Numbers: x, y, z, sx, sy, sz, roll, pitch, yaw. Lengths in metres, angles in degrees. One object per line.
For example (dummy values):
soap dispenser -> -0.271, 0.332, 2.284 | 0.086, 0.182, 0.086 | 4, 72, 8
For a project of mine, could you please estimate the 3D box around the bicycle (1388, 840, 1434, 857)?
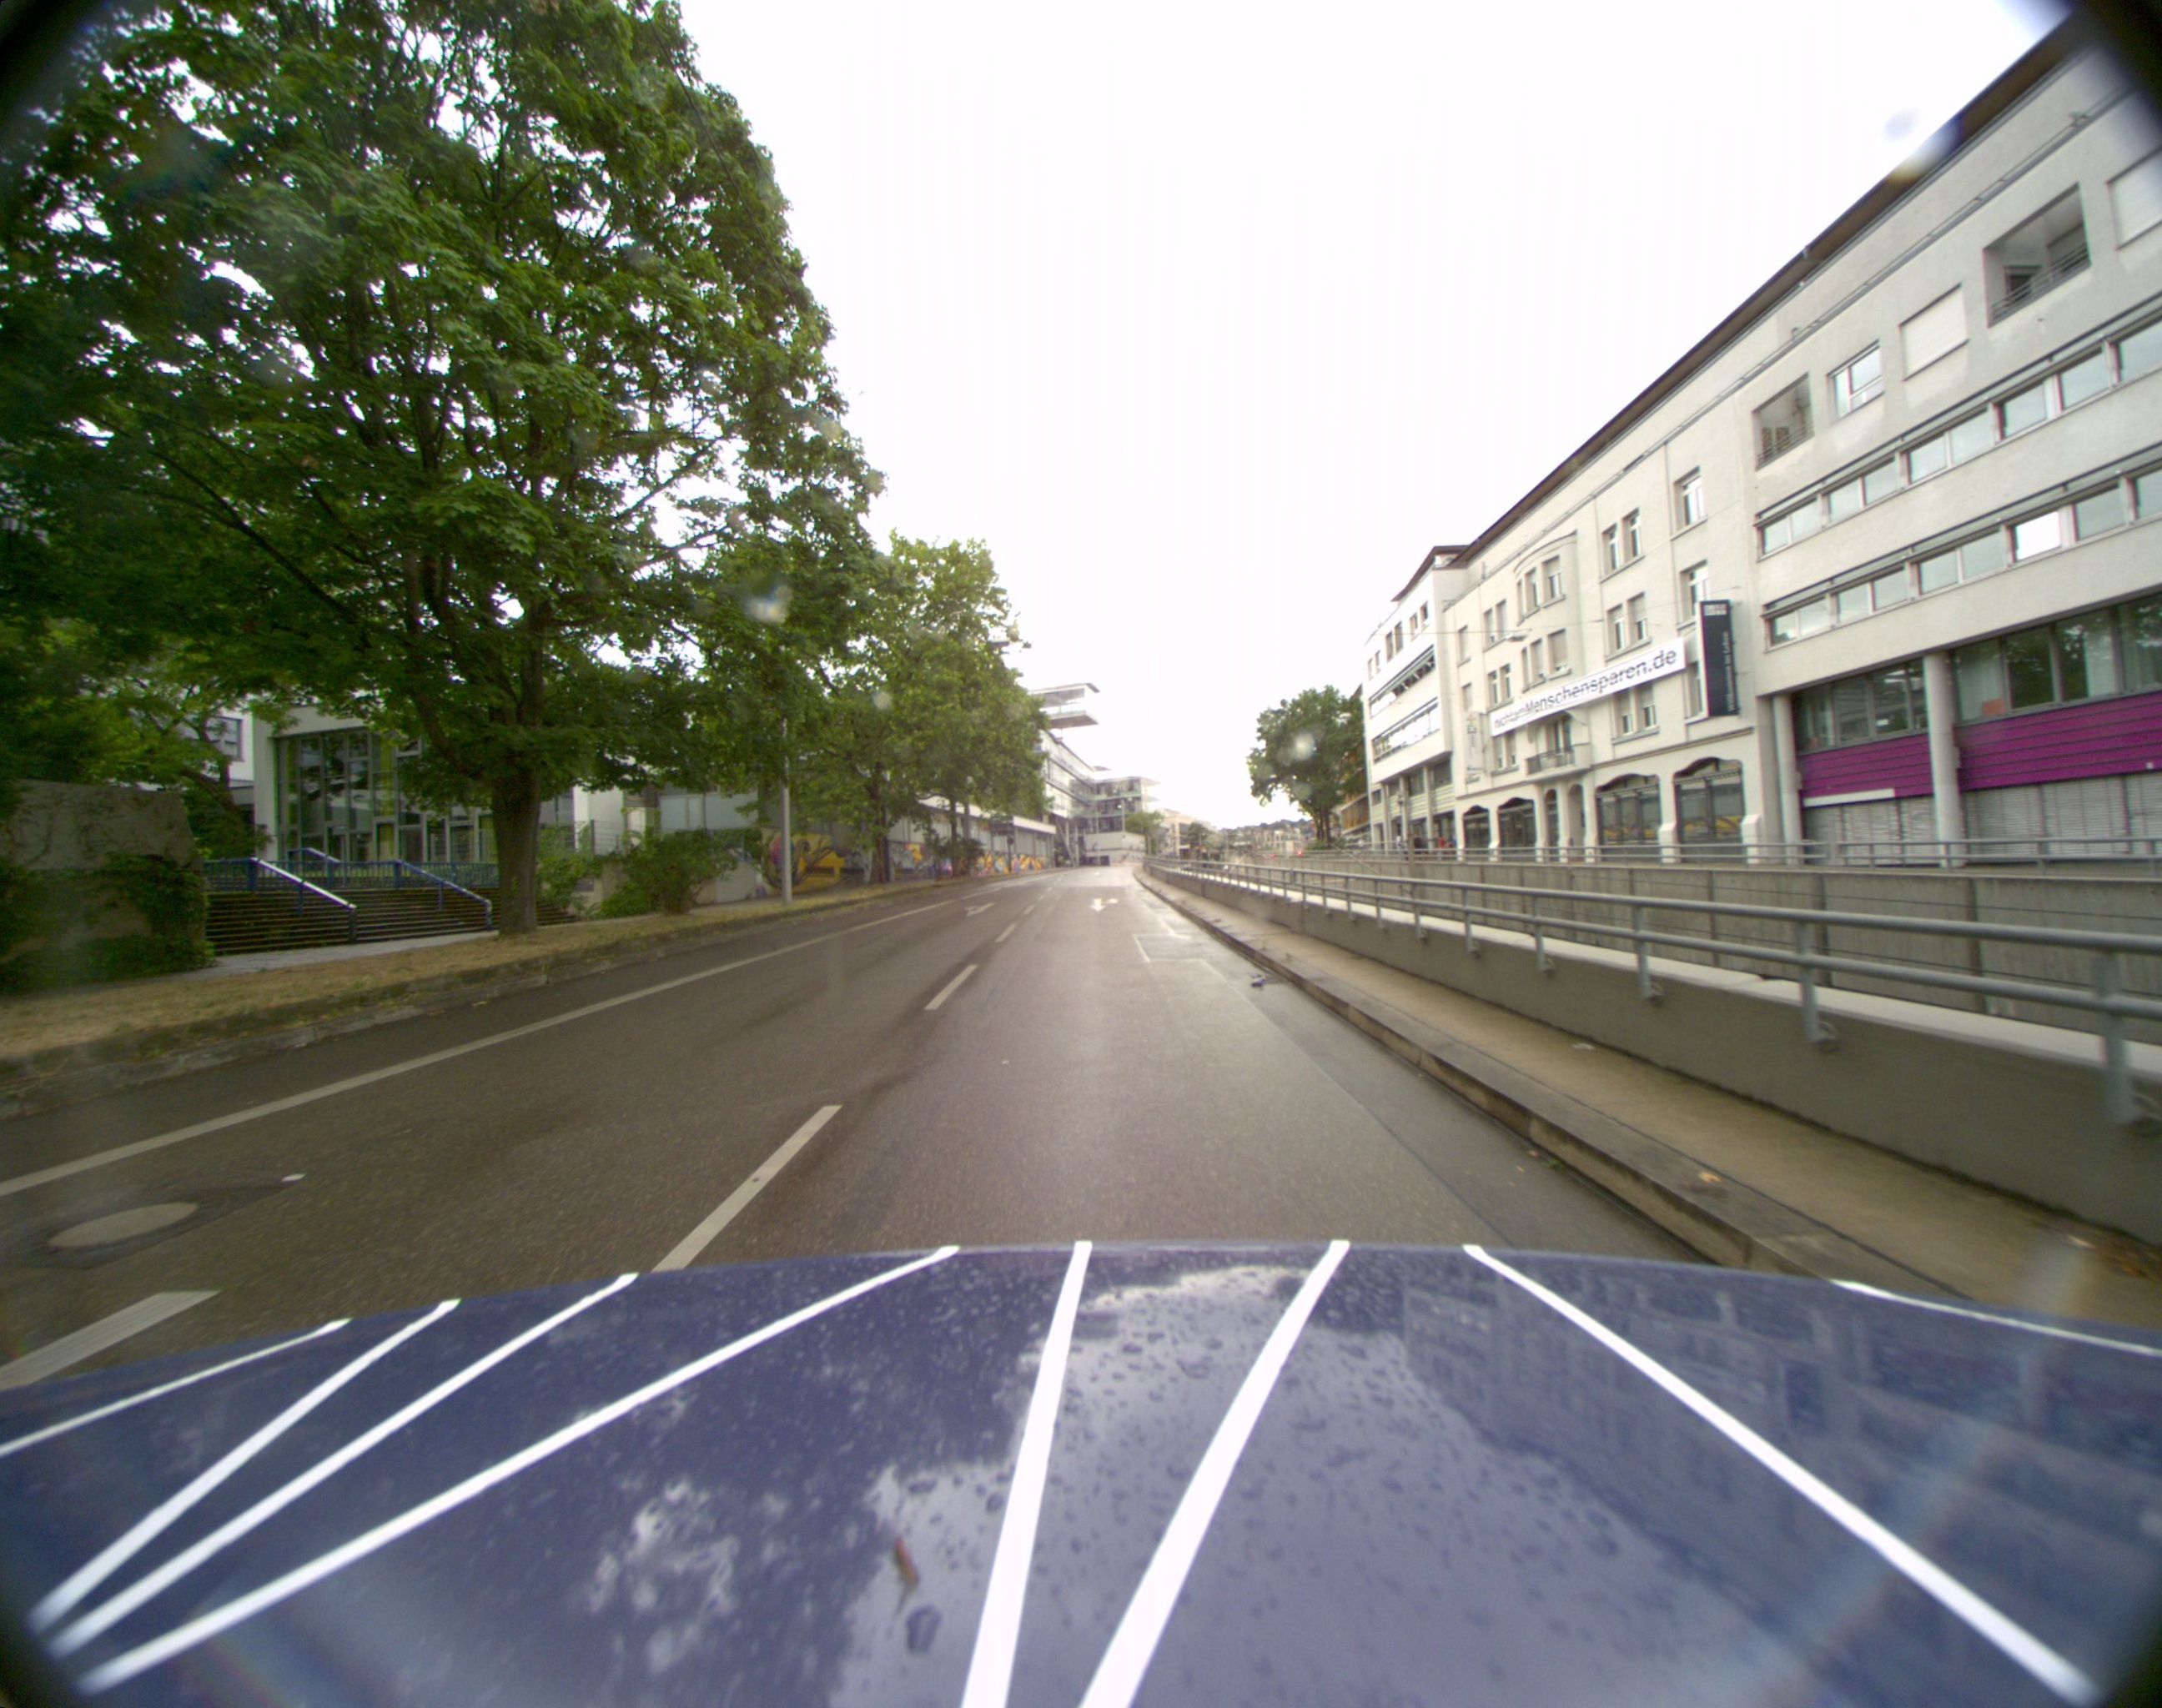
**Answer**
bicycle -> 24.140, -0.447, 55.799 | 1.696, 1.037, 4.522 | -4, 1, 5

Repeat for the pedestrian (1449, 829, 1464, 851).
pedestrian -> 24.546, -0.920, 49.716 | 0.608, 1.410, 0.674 | -3, 0, 6

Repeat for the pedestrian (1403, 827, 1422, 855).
pedestrian -> 22.342, -0.867, 51.265 | 0.674, 1.774, 0.941 | -3, 0, -14

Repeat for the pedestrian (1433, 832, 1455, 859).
pedestrian -> 22.465, -0.506, 47.043 | 0.674, 1.606, 0.941 | -3, 0, -14

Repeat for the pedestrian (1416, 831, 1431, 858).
pedestrian -> 22.543, -0.620, 50.026 | 0.675, 1.712, 0.608 | -3, 0, -39

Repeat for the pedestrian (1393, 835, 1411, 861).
pedestrian -> 21.395, -0.396, 50.678 | 0.675, 1.633, 0.793 | -3, 0, -42

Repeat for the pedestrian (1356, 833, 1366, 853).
pedestrian -> 26.215, -1.013, 71.155 | 0.666, 1.838, 0.831 | -1, 0, 10

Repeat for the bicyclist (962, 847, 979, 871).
bicyclist -> -7.679, 0.319, 52.784 | 0.808, 1.618, 1.047 | -2, 1, 8

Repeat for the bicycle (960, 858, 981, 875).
bicycle -> -7.651, 0.841, 52.733 | 0.808, 1.105, 2.199 | -2, 1, 8

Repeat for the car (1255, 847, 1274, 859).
car -> 26.960, -0.103, 111.537 | 1.841, 1.703, 4.578 | -2, 0, 3
